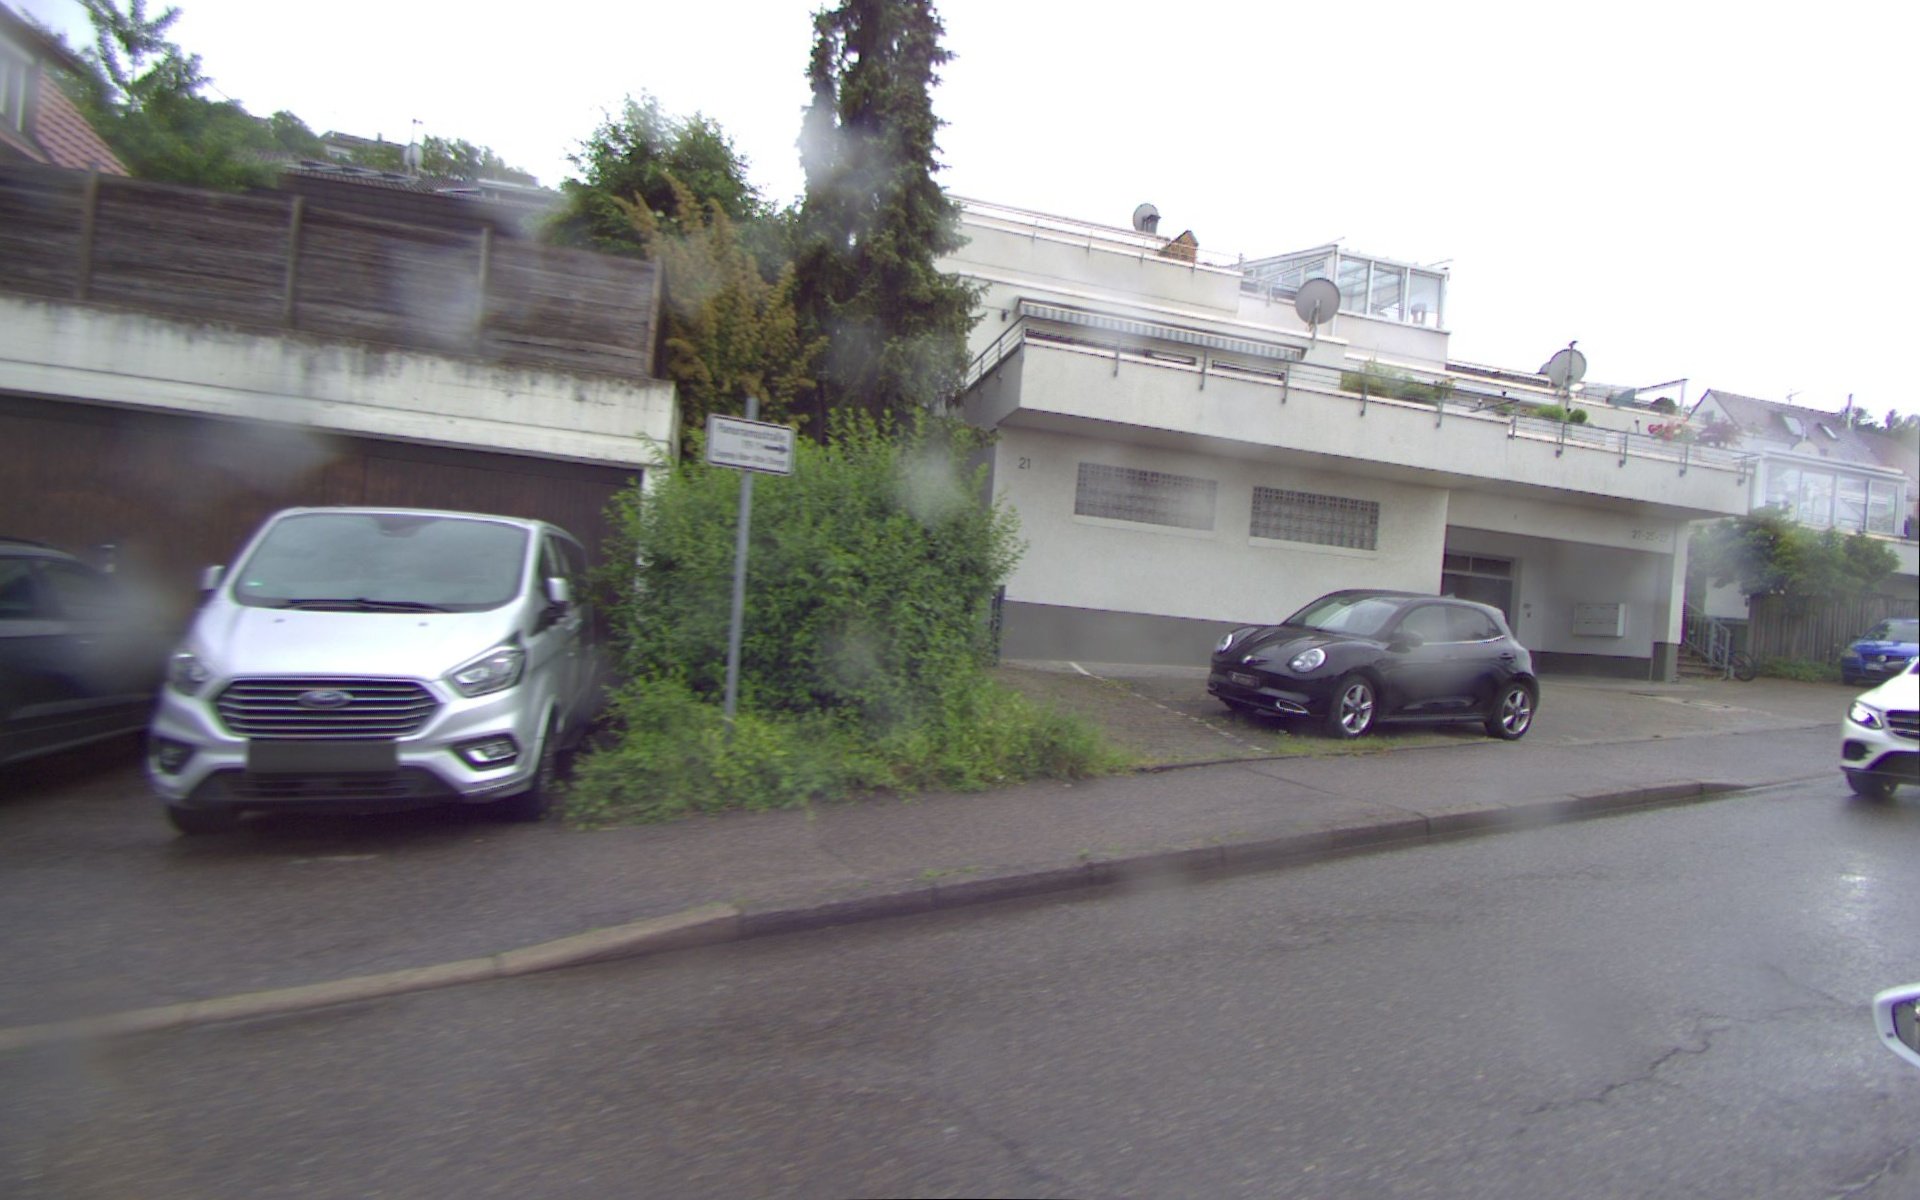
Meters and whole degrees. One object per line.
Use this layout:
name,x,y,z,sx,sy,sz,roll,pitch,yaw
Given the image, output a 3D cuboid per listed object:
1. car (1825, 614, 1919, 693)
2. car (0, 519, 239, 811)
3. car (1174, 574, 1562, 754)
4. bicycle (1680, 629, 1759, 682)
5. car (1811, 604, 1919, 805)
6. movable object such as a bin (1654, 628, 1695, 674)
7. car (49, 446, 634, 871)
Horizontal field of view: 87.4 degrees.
car,20.537,1.114,21.699,3.913,1.453,1.599,1,4,-31
car,-6.514,0.314,6.212,1.861,1.660,4.057,3,1,-13
car,4.678,0.658,11.465,4.143,1.610,1.682,2,6,-27
bicycle,16.674,1.210,22.085,0.469,1.020,1.568,2,1,-1
car,9.857,0.918,9.203,4.379,1.629,1.895,2,1,-32
movable object such as a bin,17.373,1.241,24.433,0.552,1.055,0.546,2,2,-16
car,-3.756,0.334,7.395,2.105,1.970,5.088,2,-1,-13
